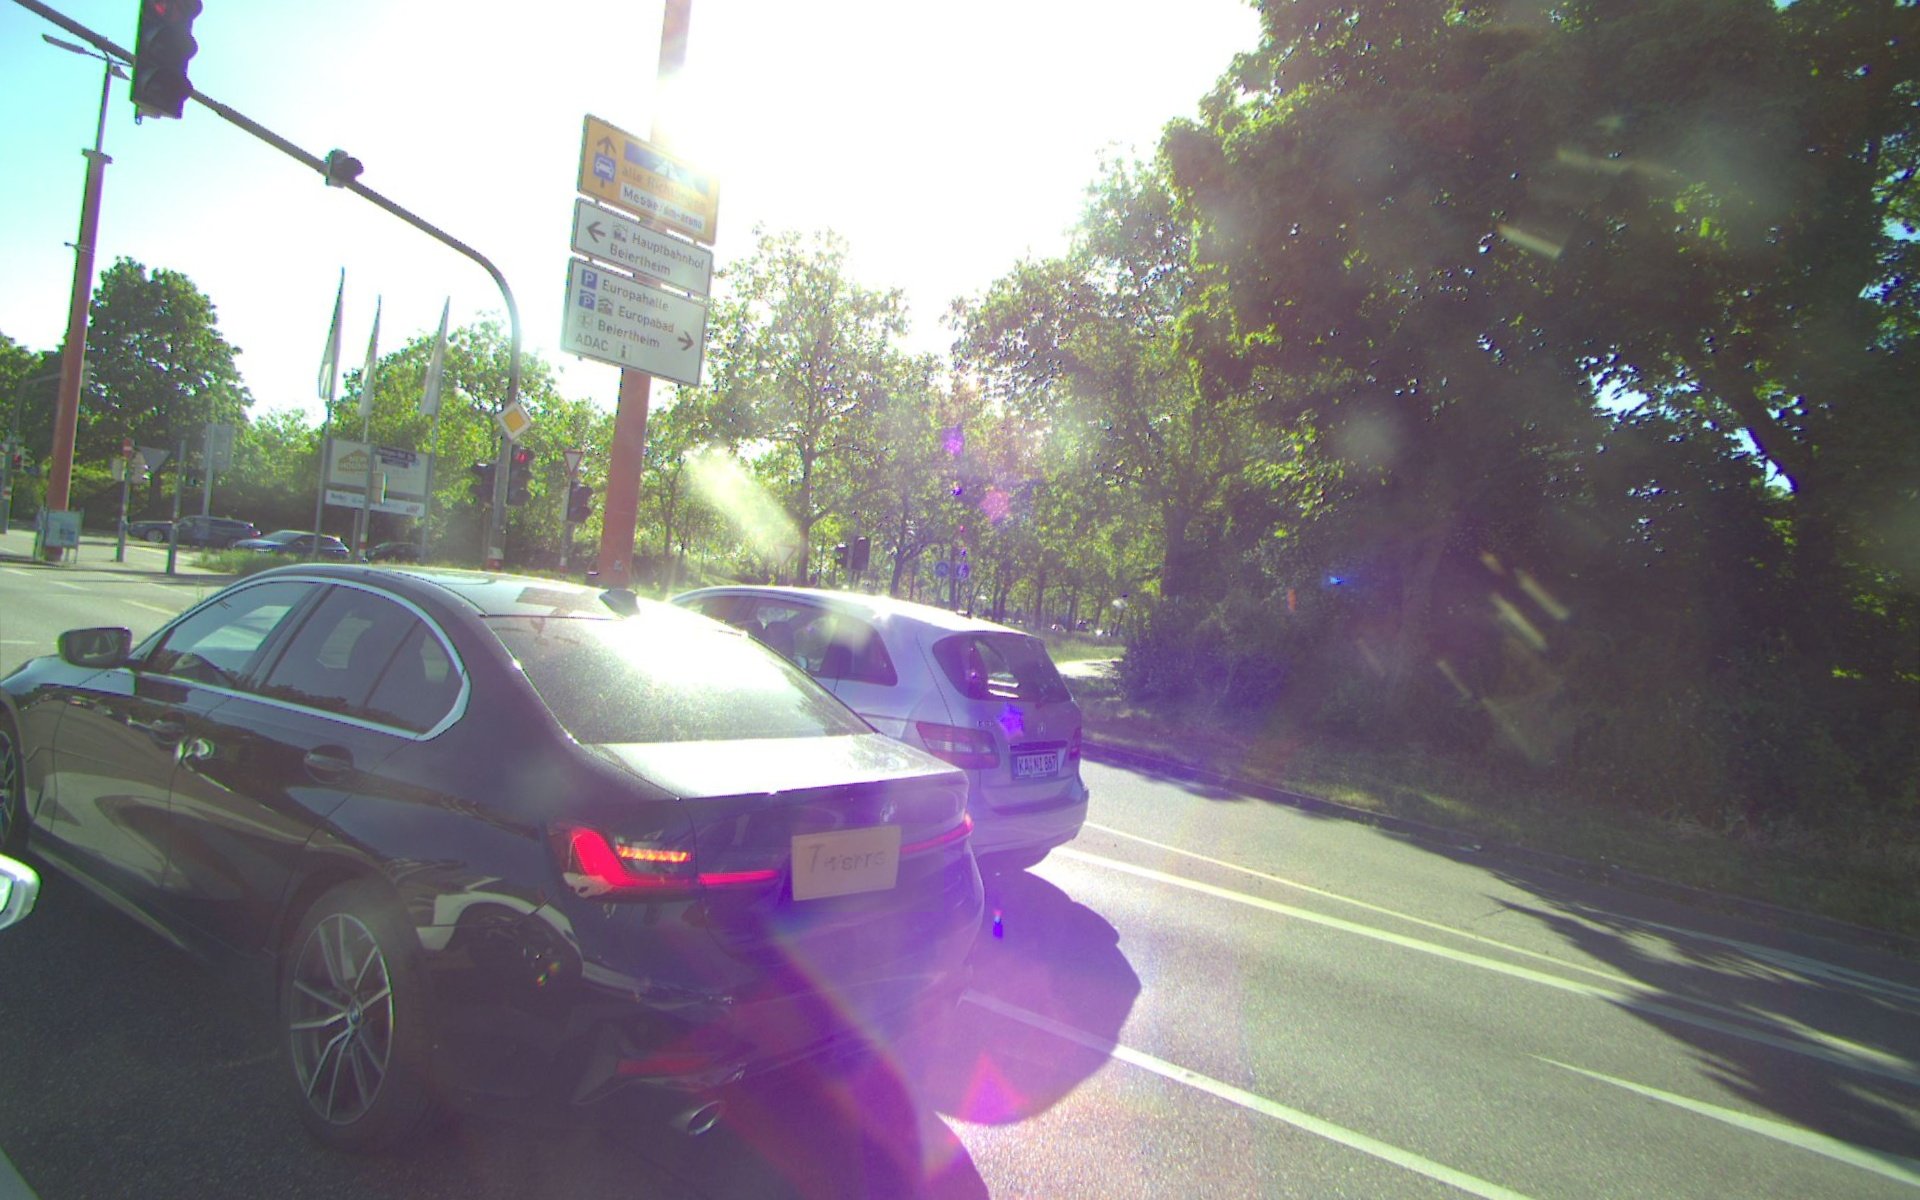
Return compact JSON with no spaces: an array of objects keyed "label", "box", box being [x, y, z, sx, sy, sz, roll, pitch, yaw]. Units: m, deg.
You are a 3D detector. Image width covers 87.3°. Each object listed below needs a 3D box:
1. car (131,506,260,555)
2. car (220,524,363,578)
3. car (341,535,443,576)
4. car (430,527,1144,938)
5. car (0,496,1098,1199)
[{"label":"car","box":[-36.240,-3.283,47.751,2.138,1.592,4.557,7,-1,44]},{"label":"car","box":[-25.093,-1.813,37.953,1.848,1.445,4.283,7,-1,14]},{"label":"car","box":[-30.877,-2.377,54.811,2.129,1.592,4.275,7,-1,28]},{"label":"car","box":[-1.280,0.639,6.792,4.403,1.706,1.970,7,-1,32]},{"label":"car","box":[-1.958,0.528,3.884,4.403,1.411,1.996,7,0,32]}]
